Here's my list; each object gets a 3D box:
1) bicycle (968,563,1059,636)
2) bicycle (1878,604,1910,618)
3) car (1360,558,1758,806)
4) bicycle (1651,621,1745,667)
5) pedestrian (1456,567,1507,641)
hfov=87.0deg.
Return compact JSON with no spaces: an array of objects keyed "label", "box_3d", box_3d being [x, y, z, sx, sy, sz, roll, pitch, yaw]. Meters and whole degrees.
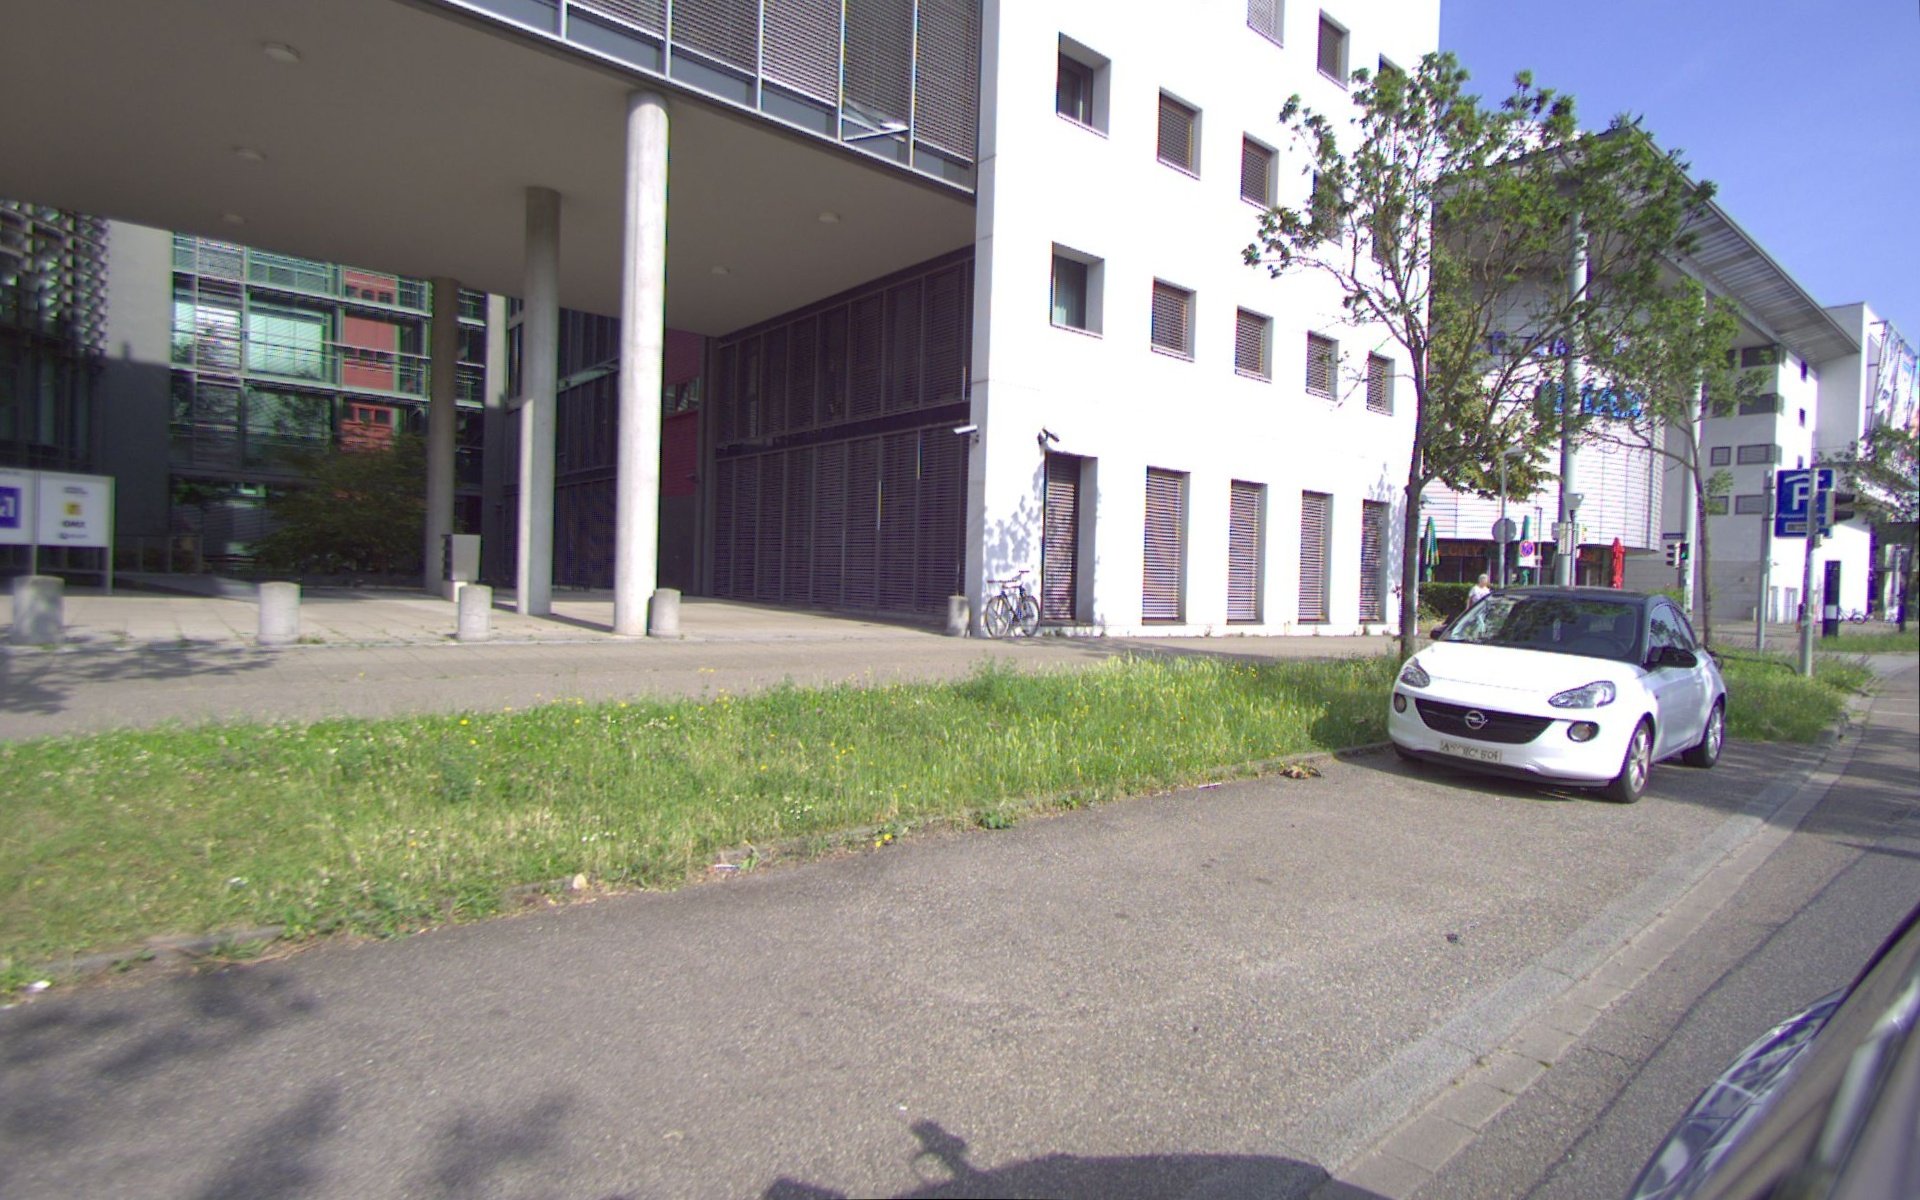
[{"label":"bicycle","box_3d":[0.866,-0.011,16.210,1.523,1.099,0.494,1,3,-43]},{"label":"bicycle","box_3d":[69.533,0.822,75.337,0.474,0.926,1.662,1,2,-38]},{"label":"car","box_3d":[5.016,0.519,8.286,3.716,1.538,1.723,1,2,-42]},{"label":"bicycle","box_3d":[13.983,0.823,19.208,0.511,0.639,1.278,1,8,-32]},{"label":"pedestrian","box_3d":[12.016,0.075,23.337,0.700,1.635,0.779,2,2,2]}]
